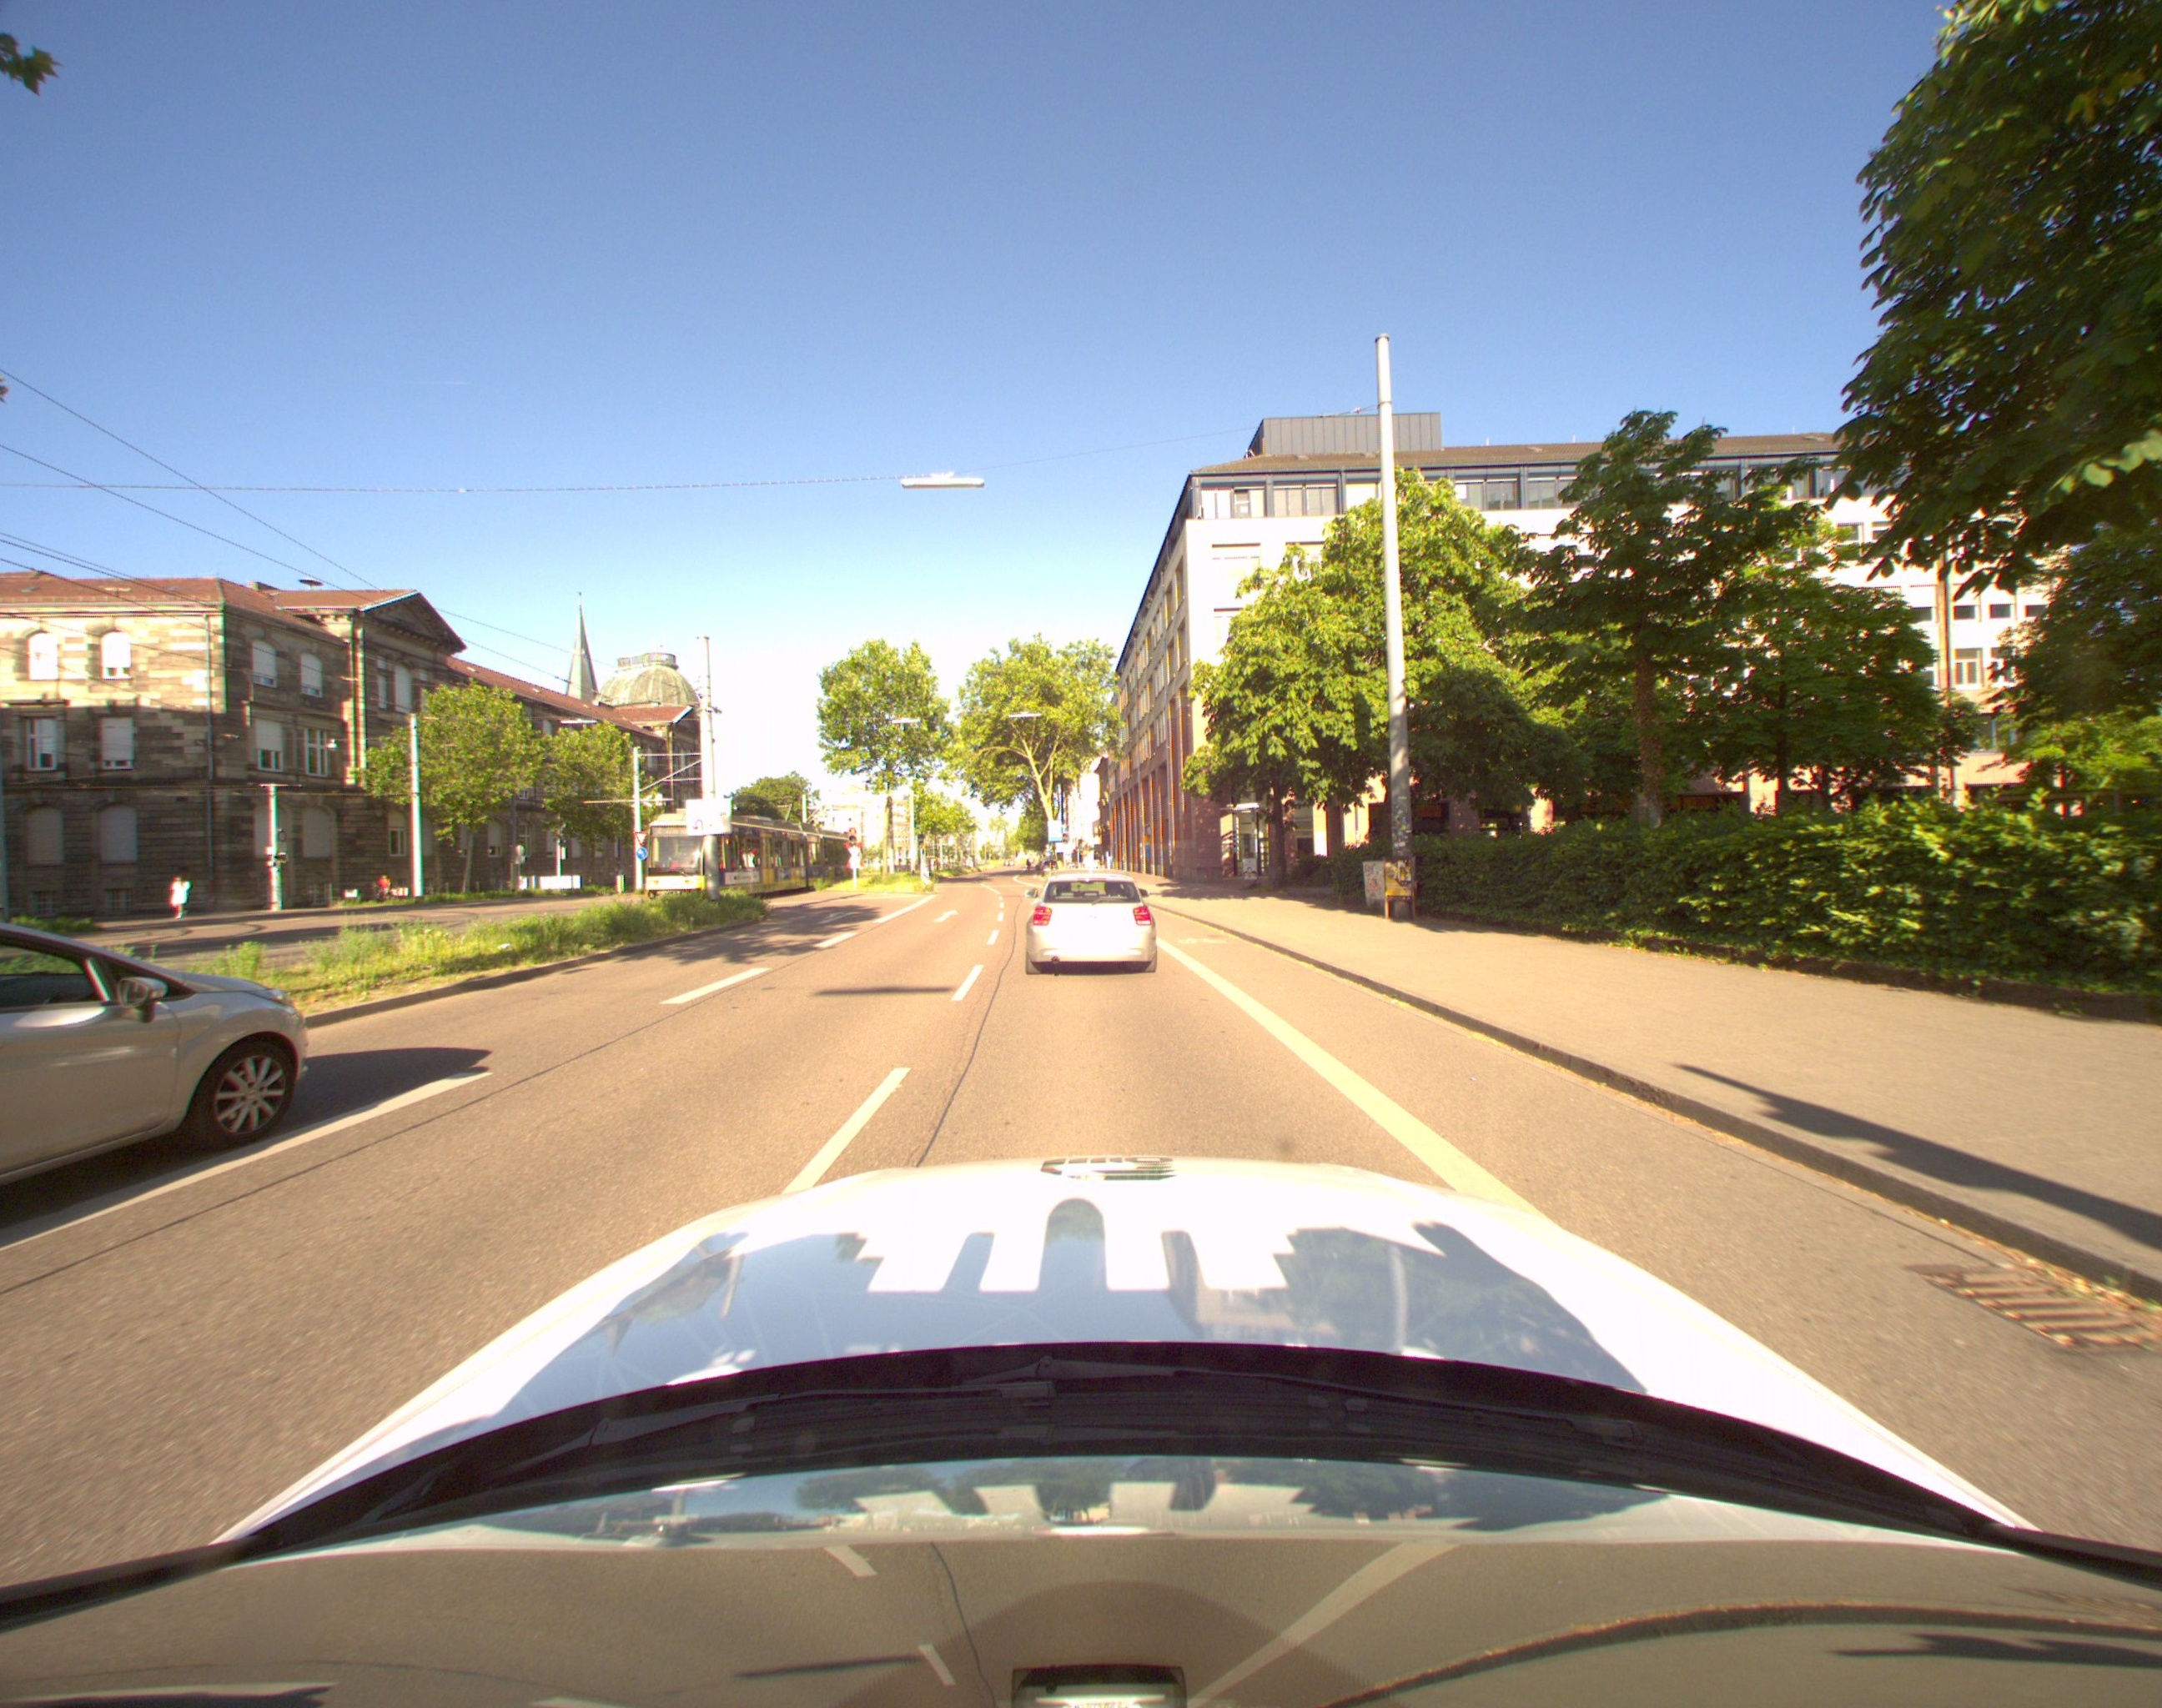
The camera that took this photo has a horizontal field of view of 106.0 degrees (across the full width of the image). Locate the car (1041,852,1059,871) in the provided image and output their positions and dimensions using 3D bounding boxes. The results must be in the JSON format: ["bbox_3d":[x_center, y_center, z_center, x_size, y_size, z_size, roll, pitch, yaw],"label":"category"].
[{"bbox_3d":[-3.530,0.841,92.406,1.852,2.014,4.717,0,-1,-3],"label":"car"}]

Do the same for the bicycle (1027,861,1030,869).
[{"bbox_3d":[-7.030,1.481,109.024,0.498,1.088,1.994,0,-1,-3],"label":"bicycle"}]

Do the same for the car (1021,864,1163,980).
[{"bbox_3d":[0.108,0.881,12.281,1.793,1.415,3.998,0,-1,-1],"label":"car"}]

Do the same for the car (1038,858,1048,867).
[{"bbox_3d":[-7.071,1.480,150.892,1.691,1.502,3.796,-4,0,-4],"label":"car"}]

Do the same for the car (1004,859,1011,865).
[{"bbox_3d":[-18.589,1.971,205.430,1.724,1.470,4.401,-2,0,-6],"label":"car"}]

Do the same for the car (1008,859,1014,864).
[{"bbox_3d":[-18.407,2.009,214.118,1.641,1.421,3.995,-1,0,-3],"label":"car"}]

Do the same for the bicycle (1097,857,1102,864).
[{"bbox_3d":[2.441,0.853,108.942,0.413,0.997,1.880,-2,0,-4],"label":"bicycle"}]

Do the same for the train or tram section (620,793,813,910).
[{"bbox_3d":[-14.342,-0.029,33.948,2.924,3.812,14.244,0,0,-6],"label":"train or tram section"}]

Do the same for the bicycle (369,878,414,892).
[{"bbox_3d":[-39.584,1.767,46.785,1.908,0.722,0.521,0,-1,-33],"label":"bicycle"}]

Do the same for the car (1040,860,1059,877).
[{"bbox_3d":[-2.941,1.346,75.768,1.664,1.570,4.276,0,-1,-2],"label":"car"}]

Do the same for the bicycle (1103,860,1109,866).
[{"bbox_3d":[3.085,1.109,101.536,0.547,0.773,1.660,-4,0,-4],"label":"bicycle"}]

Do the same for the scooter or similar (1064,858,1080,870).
[{"bbox_3d":[-0.945,1.056,85.155,1.537,1.237,0.448,-2,0,-3],"label":"scooter or similar"}]

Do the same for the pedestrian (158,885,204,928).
[{"bbox_3d":[-39.157,2.275,35.441,0.860,1.800,1.002,0,-1,-2],"label":"pedestrian"}]

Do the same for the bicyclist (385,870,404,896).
[{"bbox_3d":[-39.501,1.659,46.853,0.733,1.462,0.789,0,-1,-33],"label":"bicyclist"}]

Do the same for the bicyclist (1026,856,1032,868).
[{"bbox_3d":[-7.014,1.070,109.074,0.783,1.531,0.894,0,-1,-4],"label":"bicyclist"}]

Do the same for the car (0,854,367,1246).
[{"bbox_3d":[-5.235,0.804,3.232,1.660,1.595,3.855,0,-1,-6],"label":"car"}]

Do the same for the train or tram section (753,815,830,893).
[{"bbox_3d":[-15.179,0.016,42.970,2.951,3.897,3.858,0,-1,-6],"label":"train or tram section"}]

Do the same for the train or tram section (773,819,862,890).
[{"bbox_3d":[-15.933,0.080,50.238,2.948,3.897,10.780,0,-1,-6],"label":"train or tram section"}]
